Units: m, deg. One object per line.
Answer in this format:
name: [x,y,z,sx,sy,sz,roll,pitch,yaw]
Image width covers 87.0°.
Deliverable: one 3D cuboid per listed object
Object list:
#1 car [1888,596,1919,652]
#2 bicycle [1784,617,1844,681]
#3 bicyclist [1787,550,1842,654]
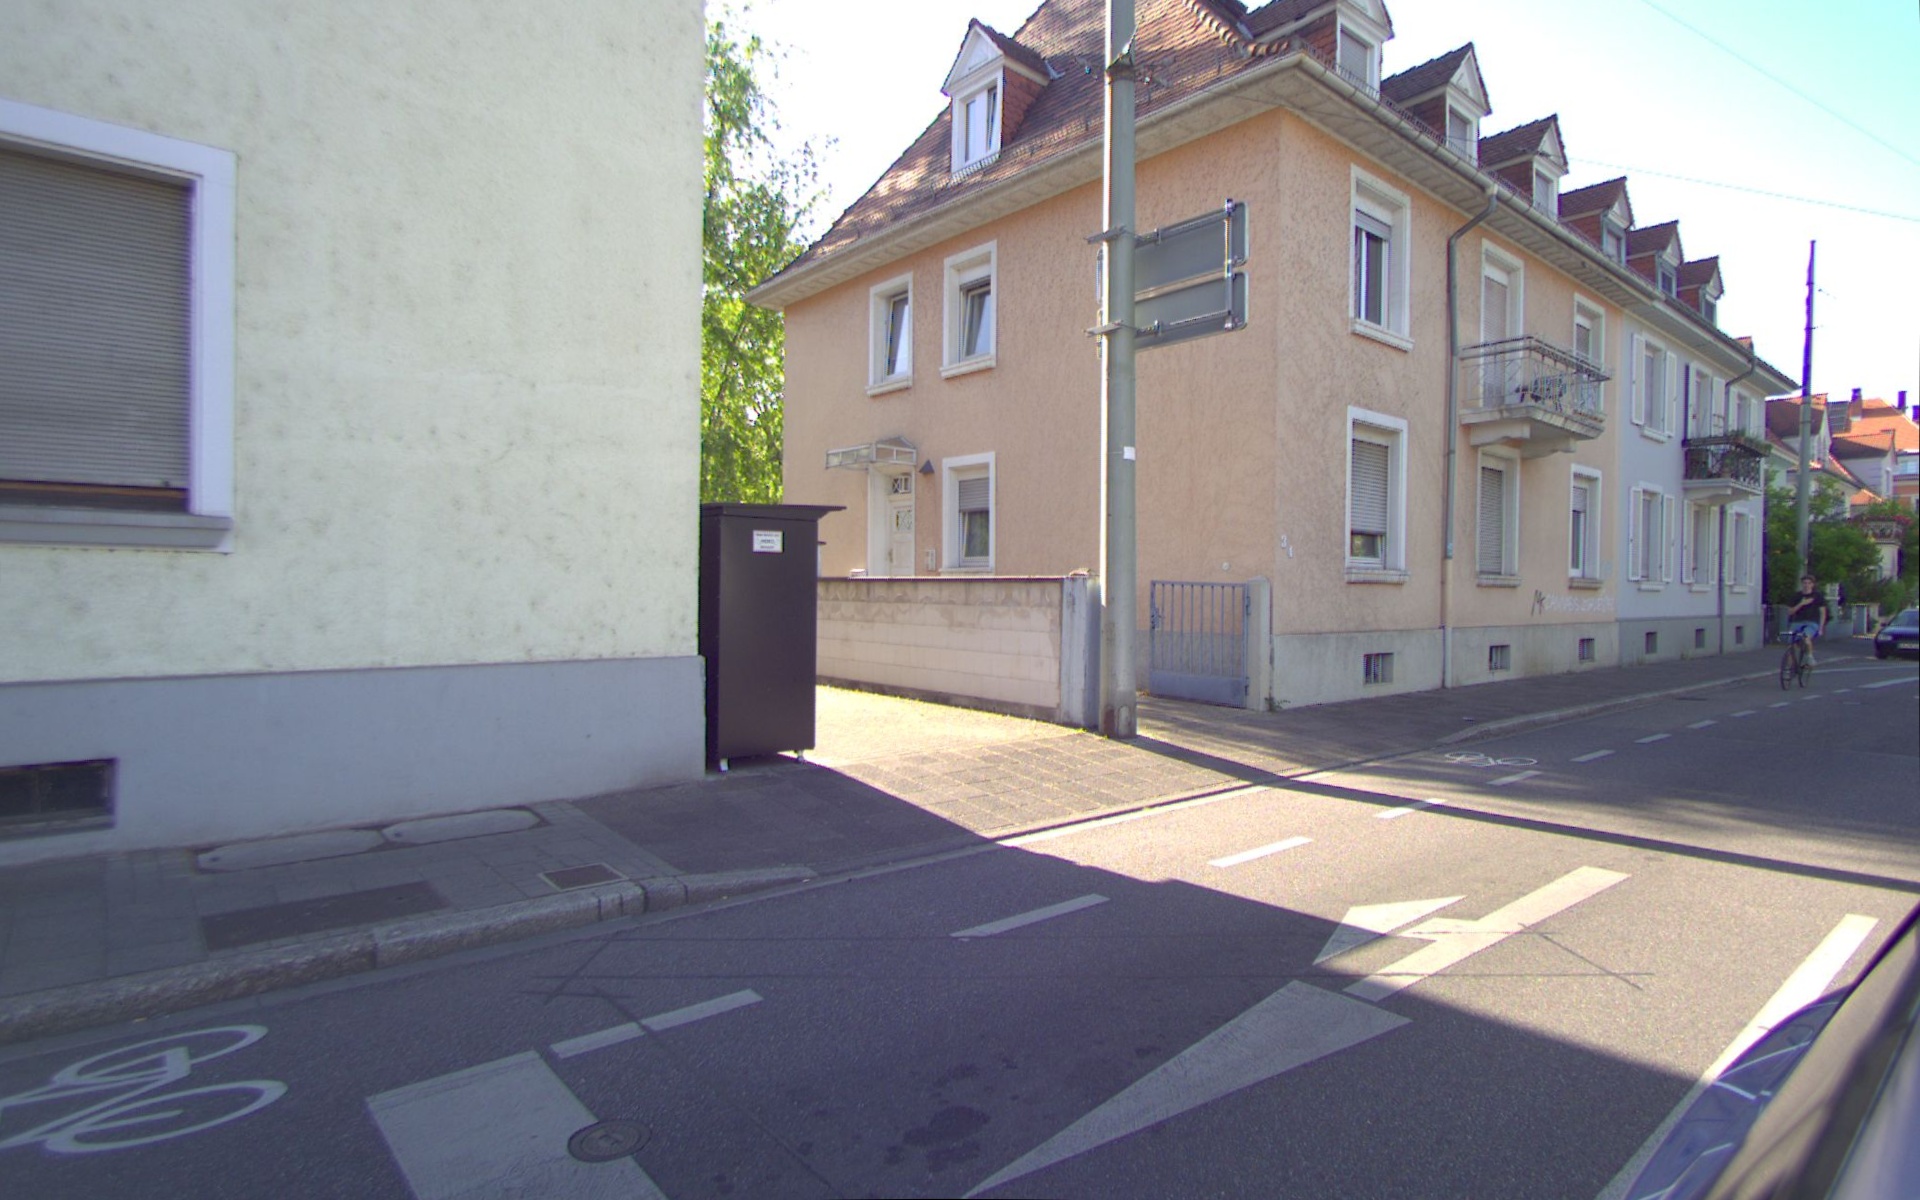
car: [26.713,0.627,27.400,4.347,1.425,1.866,0,1,-41]
bicycle: [15.010,0.832,17.774,1.727,1.029,0.533,0,1,-41]
bicyclist: [14.997,0.027,17.761,1.065,1.752,0.561,0,0,-40]
